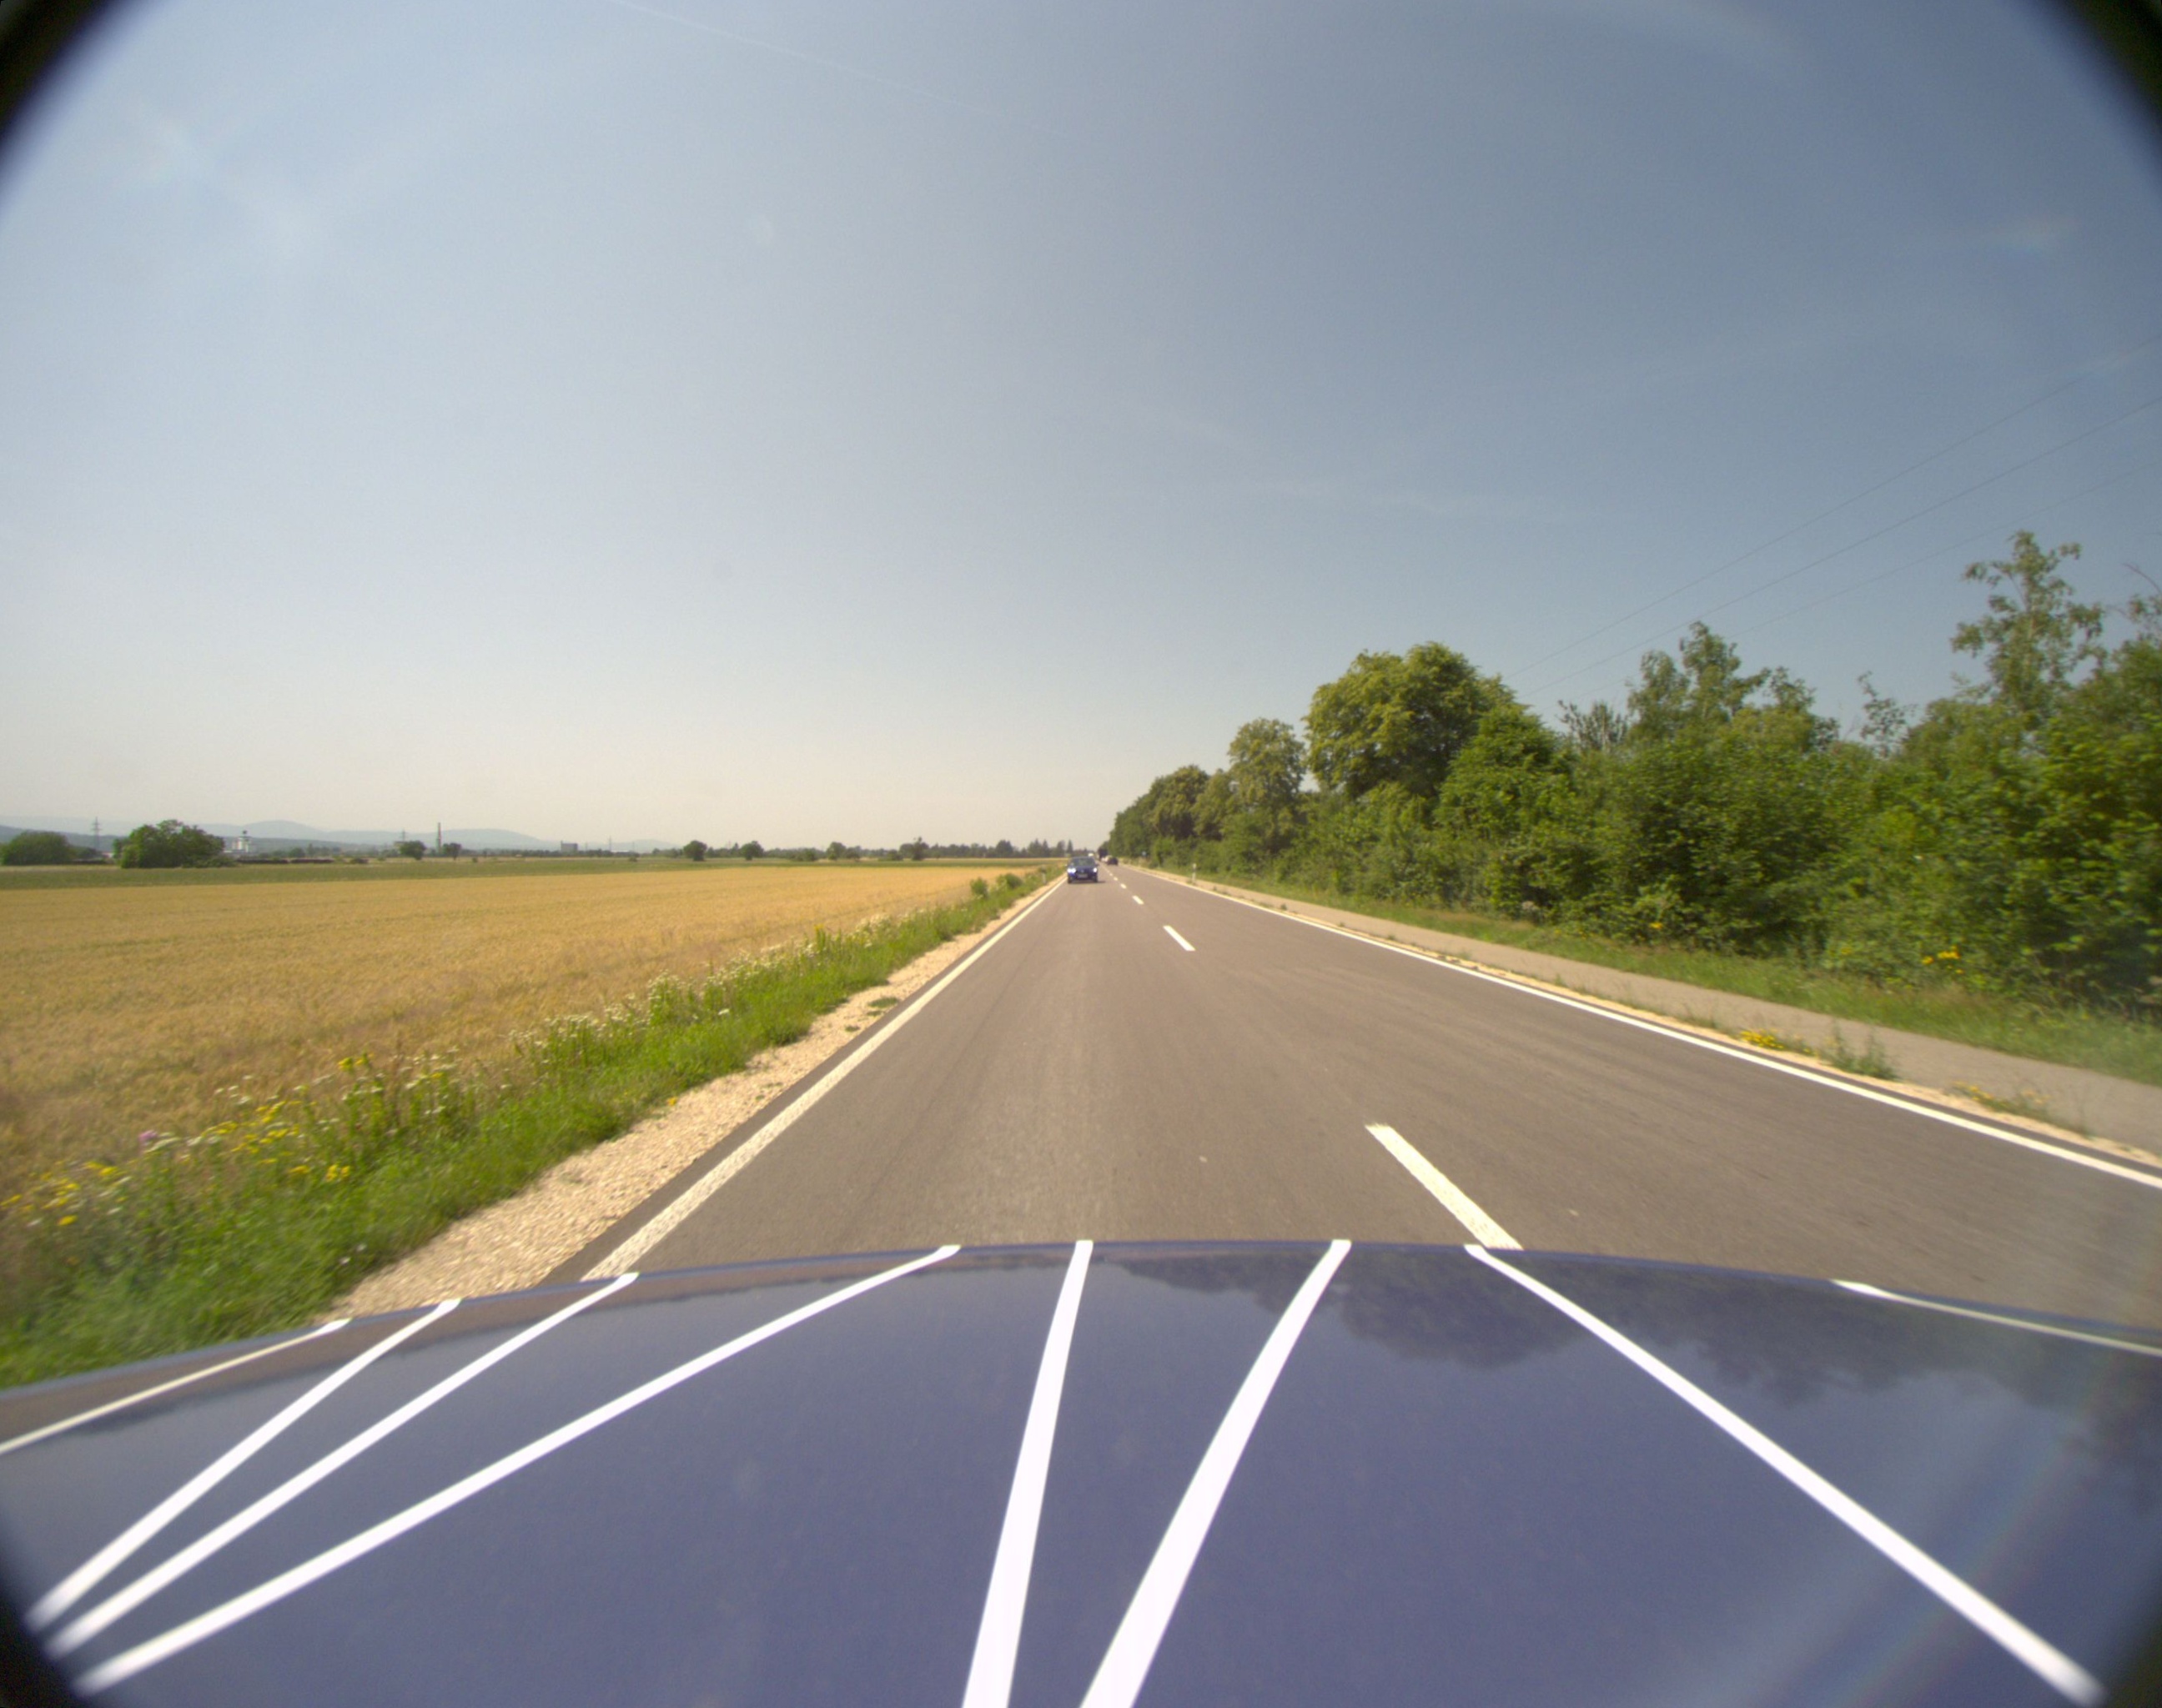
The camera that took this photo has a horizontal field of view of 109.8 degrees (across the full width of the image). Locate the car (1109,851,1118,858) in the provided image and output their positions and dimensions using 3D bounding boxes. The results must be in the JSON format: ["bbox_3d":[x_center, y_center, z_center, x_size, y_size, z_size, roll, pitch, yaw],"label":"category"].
[{"bbox_3d":[6.890,0.043,160.725,1.662,1.508,4.000,0,0,1],"label":"car"}]

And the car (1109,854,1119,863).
[{"bbox_3d":[5.508,0.709,127.732,1.661,1.508,4.000,0,0,2],"label":"car"}]

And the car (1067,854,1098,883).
[{"bbox_3d":[0.079,0.820,44.025,1.662,1.509,4.000,-2,0,0],"label":"car"}]

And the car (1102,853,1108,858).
[{"bbox_3d":[6.845,0.450,219.211,1.662,1.508,4.000,0,0,0],"label":"car"}]

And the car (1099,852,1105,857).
[{"bbox_3d":[6.513,0.247,234.802,1.662,1.508,4.000,0,0,0],"label":"car"}]
